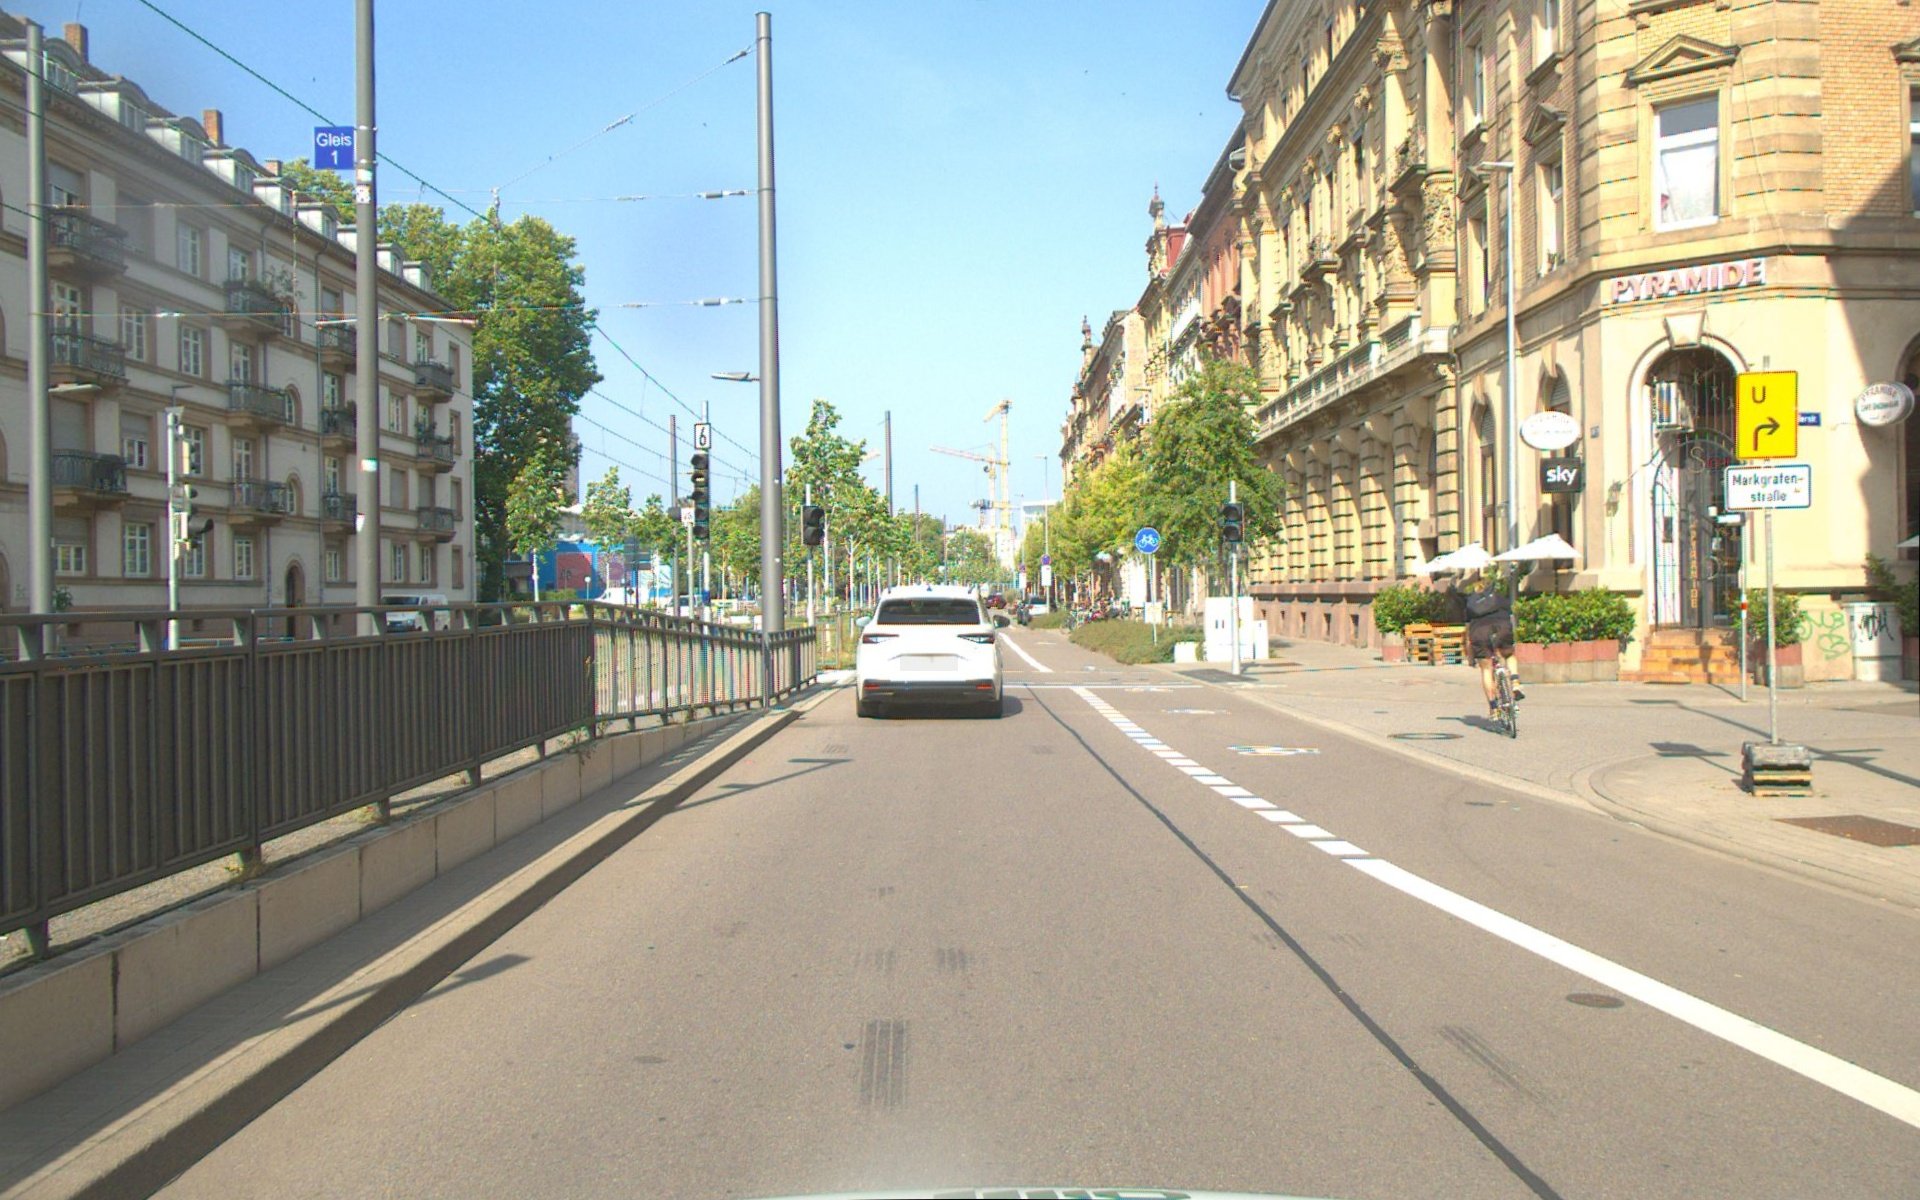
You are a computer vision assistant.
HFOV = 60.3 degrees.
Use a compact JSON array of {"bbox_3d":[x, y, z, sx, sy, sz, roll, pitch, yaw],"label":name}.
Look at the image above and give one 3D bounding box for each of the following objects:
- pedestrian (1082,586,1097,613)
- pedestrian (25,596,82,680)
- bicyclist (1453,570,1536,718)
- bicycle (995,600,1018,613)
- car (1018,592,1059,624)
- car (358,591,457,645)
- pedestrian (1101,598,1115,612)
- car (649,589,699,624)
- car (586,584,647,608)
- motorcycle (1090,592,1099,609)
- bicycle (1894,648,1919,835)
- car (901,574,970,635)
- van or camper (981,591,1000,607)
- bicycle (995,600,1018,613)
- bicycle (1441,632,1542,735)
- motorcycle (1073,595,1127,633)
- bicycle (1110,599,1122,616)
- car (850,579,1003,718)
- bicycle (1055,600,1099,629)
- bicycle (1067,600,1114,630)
[{"bbox_3d":[8.748,-0.031,111.816,0.807,1.726,0.792,-3,0,-4],"label":"pedestrian"},{"bbox_3d":[-23.083,0.946,42.133,0.825,2.104,1.157,0,0,1],"label":"pedestrian"},{"bbox_3d":[5.624,0.447,17.444,0.572,1.508,0.931,-1,0,0],"label":"bicyclist"},{"bbox_3d":[4.589,0.610,162.377,2.193,1.123,0.519,-3,0,2],"label":"bicycle"},{"bbox_3d":[4.227,0.419,89.753,1.734,1.616,4.245,-2,0,-3],"label":"car"},{"bbox_3d":[-20.892,0.648,62.749,1.952,1.951,5.153,1,0,1],"label":"car"},{"bbox_3d":[10.098,0.351,112.916,0.860,0.892,0.710,-3,0,-3],"label":"pedestrian"},{"bbox_3d":[-16.688,0.369,96.860,1.952,1.928,5.047,-1,0,1],"label":"car"},{"bbox_3d":[-40.926,-0.437,197.164,6.775,2.685,2.499,2,-1,-21],"label":"car"},{"bbox_3d":[9.908,0.041,121.796,0.454,1.196,1.945,-3,0,1],"label":"motorcycle"},{"bbox_3d":[6.579,0.806,9.783,1.716,1.106,0.583,-3,0,3],"label":"bicycle"},{"bbox_3d":[-0.594,0.110,43.567,1.718,1.510,4.406,0,0,0],"label":"car"},{"bbox_3d":[3.349,-0.097,182.656,1.953,1.684,4.000,-2,0,0],"label":"van or camper"},{"bbox_3d":[4.561,0.607,161.822,2.193,1.123,0.588,-3,0,2],"label":"bicycle"},{"bbox_3d":[5.611,0.857,17.541,0.495,0.970,1.785,-1,1,0],"label":"bicycle"},{"bbox_3d":[5.345,0.524,63.037,2.017,1.309,0.697,-3,1,-34],"label":"motorcycle"},{"bbox_3d":[10.275,0.485,109.096,0.442,1.102,1.445,-1,0,-9],"label":"bicycle"},{"bbox_3d":[-0.380,0.560,21.535,1.780,1.617,4.406,0,0,0],"label":"car"},{"bbox_3d":[4.822,0.600,68.453,1.749,1.072,0.372,-3,0,-2],"label":"bicycle"},{"bbox_3d":[5.284,0.604,67.133,1.772,1.115,0.671,-3,0,-6],"label":"bicycle"}]
